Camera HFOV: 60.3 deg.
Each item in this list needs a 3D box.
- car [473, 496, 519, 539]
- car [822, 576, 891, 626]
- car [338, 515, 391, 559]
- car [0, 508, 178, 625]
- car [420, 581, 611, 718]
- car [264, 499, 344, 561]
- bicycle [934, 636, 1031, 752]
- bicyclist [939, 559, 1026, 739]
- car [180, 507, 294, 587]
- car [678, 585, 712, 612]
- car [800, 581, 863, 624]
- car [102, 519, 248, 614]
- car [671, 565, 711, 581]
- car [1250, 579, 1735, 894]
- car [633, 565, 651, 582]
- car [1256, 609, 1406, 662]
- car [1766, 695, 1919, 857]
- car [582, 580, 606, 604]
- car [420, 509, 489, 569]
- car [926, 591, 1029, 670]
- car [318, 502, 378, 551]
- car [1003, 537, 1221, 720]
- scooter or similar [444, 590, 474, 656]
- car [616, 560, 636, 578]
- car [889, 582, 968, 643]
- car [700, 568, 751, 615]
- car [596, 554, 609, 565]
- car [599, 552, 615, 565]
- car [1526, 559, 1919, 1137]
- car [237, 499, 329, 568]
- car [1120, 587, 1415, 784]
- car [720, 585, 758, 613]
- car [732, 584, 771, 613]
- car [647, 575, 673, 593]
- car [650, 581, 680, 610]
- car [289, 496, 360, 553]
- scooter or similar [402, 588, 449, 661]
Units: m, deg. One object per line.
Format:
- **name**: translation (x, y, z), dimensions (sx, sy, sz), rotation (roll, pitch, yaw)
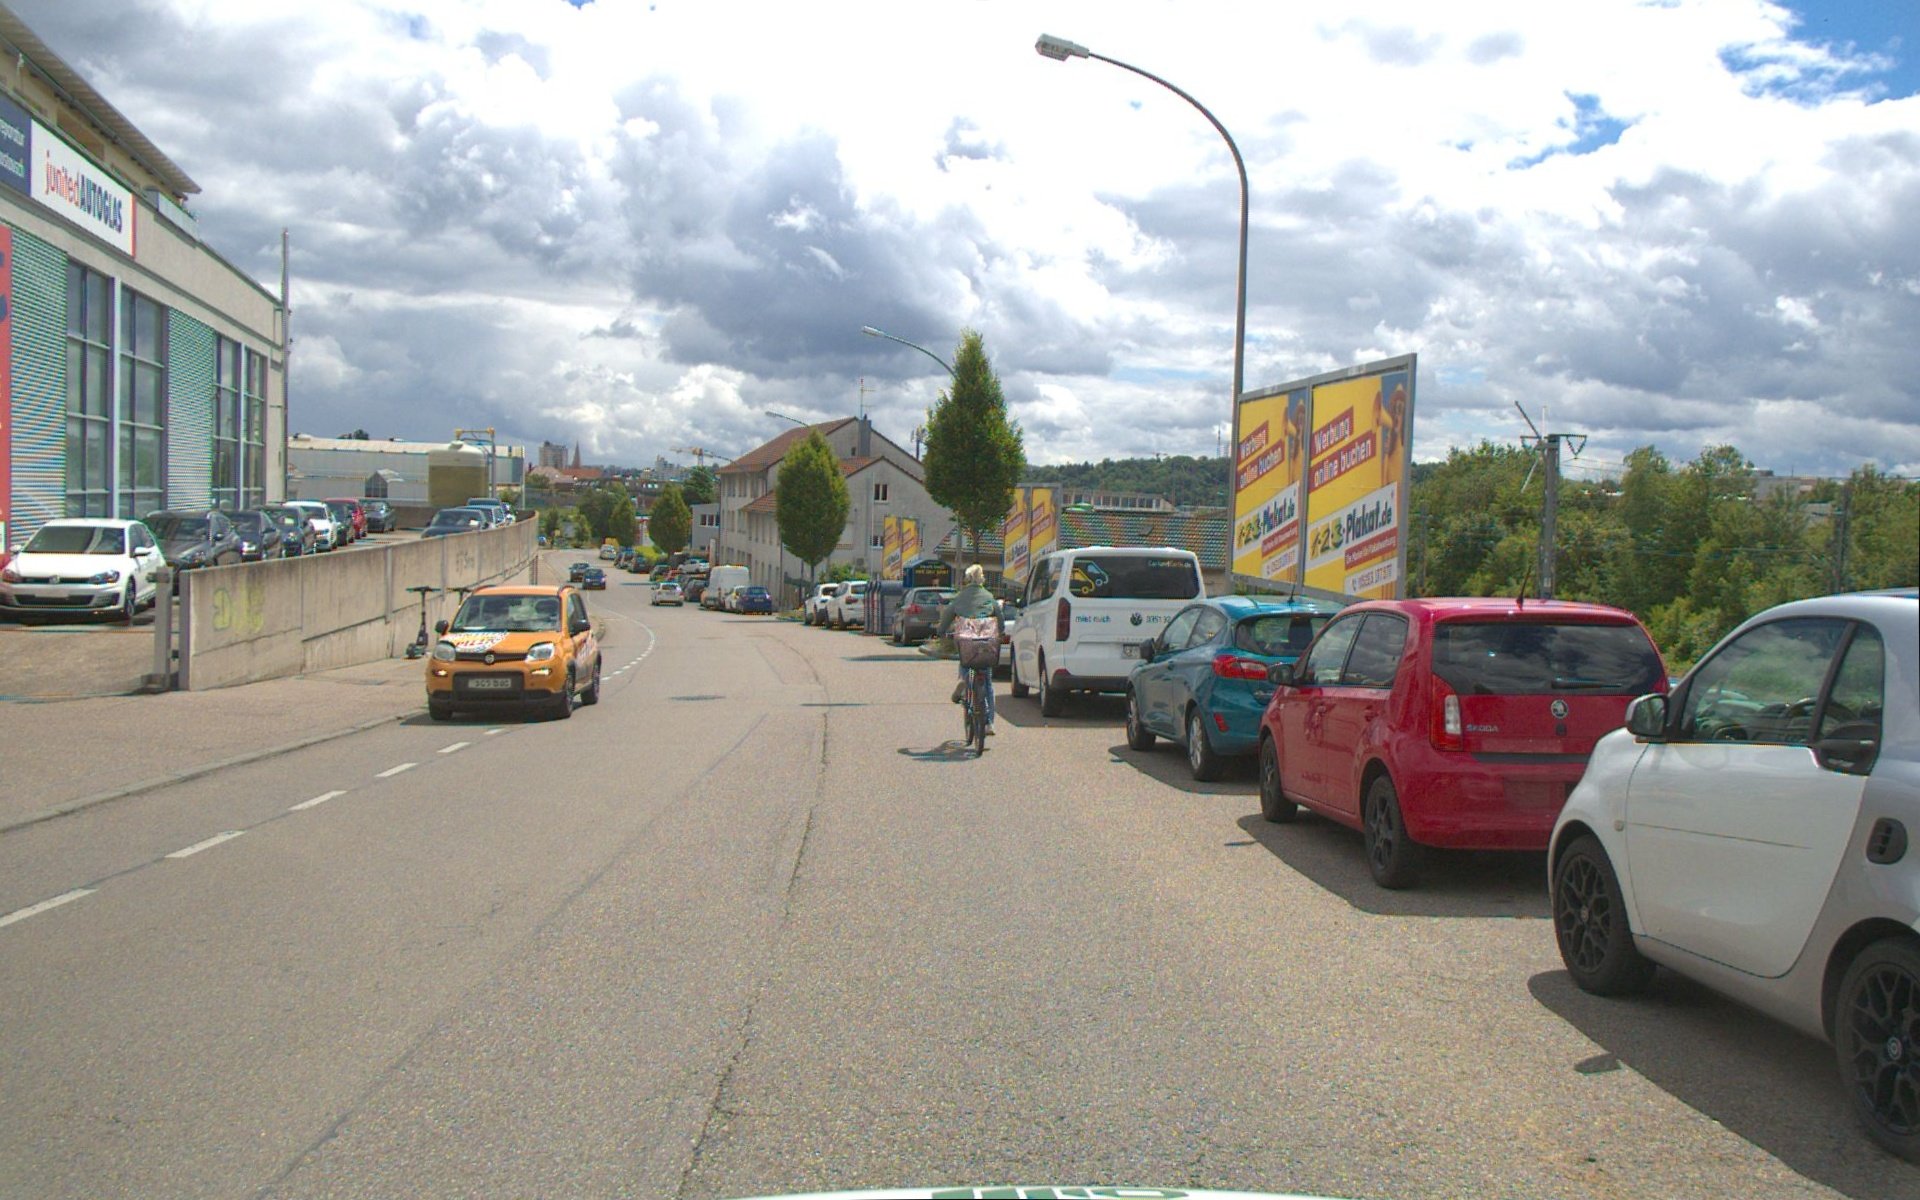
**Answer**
- **car**: translation (-20.509, -3.632, 73.172), dimensions (1.775, 1.665, 4.090), rotation (1, 0, -14)
- **car**: translation (-3.699, 0.031, 58.407), dimensions (1.657, 1.688, 4.463), rotation (0, 0, -14)
- **car**: translation (-25.429, -2.659, 70.706), dimensions (1.776, 1.665, 4.096), rotation (1, 0, -15)
- **car**: translation (-13.769, -0.484, 26.173), dimensions (1.776, 1.665, 4.096), rotation (1, 0, -15)
- **car**: translation (-5.375, 0.561, 20.415), dimensions (1.569, 1.516, 3.679), rotation (1, 0, -4)
- **car**: translation (-19.995, -2.091, 50.553), dimensions (1.776, 1.665, 4.096), rotation (1, 0, -15)
- **bicycle**: translation (0.188, 0.864, 15.736), dimensions (0.726, 0.992, 1.730), rotation (1, 0, -6)
- **bicyclist**: translation (0.201, 0.455, 15.700), dimensions (0.725, 1.655, 0.730), rotation (1, -1, -6)
- **car**: translation (-16.559, -1.157, 38.046), dimensions (1.776, 1.665, 4.096), rotation (1, 0, -15)
- **car**: translation (-18.634, -0.122, 116.082), dimensions (1.677, 1.536, 5.066), rotation (3, 2, -16)
- **car**: translation (-5.023, 0.082, 64.040), dimensions (1.810, 1.592, 4.451), rotation (-1, 0, -13)
- **car**: translation (-14.984, -0.601, 31.773), dimensions (1.776, 1.665, 4.096), rotation (1, 0, -15)
- **car**: translation (-27.605, -2.765, 169.519), dimensions (3.994, 1.488, 1.719), rotation (0, 3, 36)
- **car**: translation (2.899, 0.664, 9.779), dimensions (1.561, 1.507, 3.498), rotation (1, 0, -3)
- **car**: translation (-33.562, -2.779, 174.508), dimensions (1.651, 1.666, 4.109), rotation (1, 1, -14)
- **car**: translation (11.626, 1.111, 52.075), dimensions (4.353, 1.582, 2.001), rotation (1, 0, 4)
- **car**: translation (10.585, 1.876, 17.524), dimensions (1.779, 1.467, 4.554), rotation (1, 0, -2)
- **car**: translation (-28.651, -0.582, 129.421), dimensions (1.601, 1.849, 3.762), rotation (0, 0, -17)
- **car**: translation (-15.559, -1.850, 51.064), dimensions (1.775, 1.665, 4.090), rotation (1, 0, -14)
- **car**: translation (0.280, 0.546, 32.306), dimensions (1.605, 1.411, 4.200), rotation (1, 0, -5)
- **car**: translation (-23.504, -2.799, 63.626), dimensions (1.776, 1.665, 4.096), rotation (1, 0, -15)
- **car**: translation (1.808, 0.320, 21.562), dimensions (1.936, 2.039, 5.542), rotation (1, 0, -4)
- **scooter or similar**: translation (-10.304, 0.463, 34.038), dimensions (0.511, 1.298, 1.377), rotation (3, -1, -16)
- **car**: translation (-38.079, -3.551, 188.653), dimensions (1.838, 2.025, 5.123), rotation (1, 1, -15)
- **car**: translation (-0.886, 0.304, 43.719), dimensions (1.624, 1.511, 4.037), rotation (-1, 0, -8)
- **car**: translation (-14.259, -0.493, 100.302), dimensions (2.000, 2.687, 7.250), rotation (1, 0, -16)
- **car**: translation (-52.098, -5.948, 240.906), dimensions (1.672, 1.554, 3.725), rotation (1, 1, -14)
- **car**: translation (-49.356, -5.818, 231.090), dimensions (1.675, 1.554, 3.718), rotation (4, 1, -19)
- **car**: translation (3.271, 0.674, 5.559), dimensions (1.562, 1.550, 2.855), rotation (1, 0, -5)
- **car**: translation (-18.236, -1.754, 44.699), dimensions (1.776, 1.665, 4.096), rotation (1, 0, -15)
- **car**: translation (2.538, 0.651, 14.579), dimensions (1.562, 1.476, 3.975), rotation (1, 0, -5)
- **car**: translation (-12.633, -0.047, 94.522), dimensions (1.567, 1.536, 3.773), rotation (1, 0, -16)
- **car**: translation (-11.327, -0.087, 89.732), dimensions (1.541, 1.536, 4.077), rotation (1, 0, -15)
- **car**: translation (-27.022, -1.447, 148.739), dimensions (1.762, 1.491, 4.687), rotation (1, 1, -17)
- **car**: translation (-18.649, -0.272, 104.518), dimensions (1.541, 1.817, 3.590), rotation (1, 0, -15)
- **car**: translation (-21.231, -2.496, 55.366), dimensions (1.776, 1.665, 4.096), rotation (1, 0, -15)
- **scooter or similar**: translation (-9.779, 0.449, 30.291), dimensions (0.546, 1.298, 1.303), rotation (1, 0, -7)
